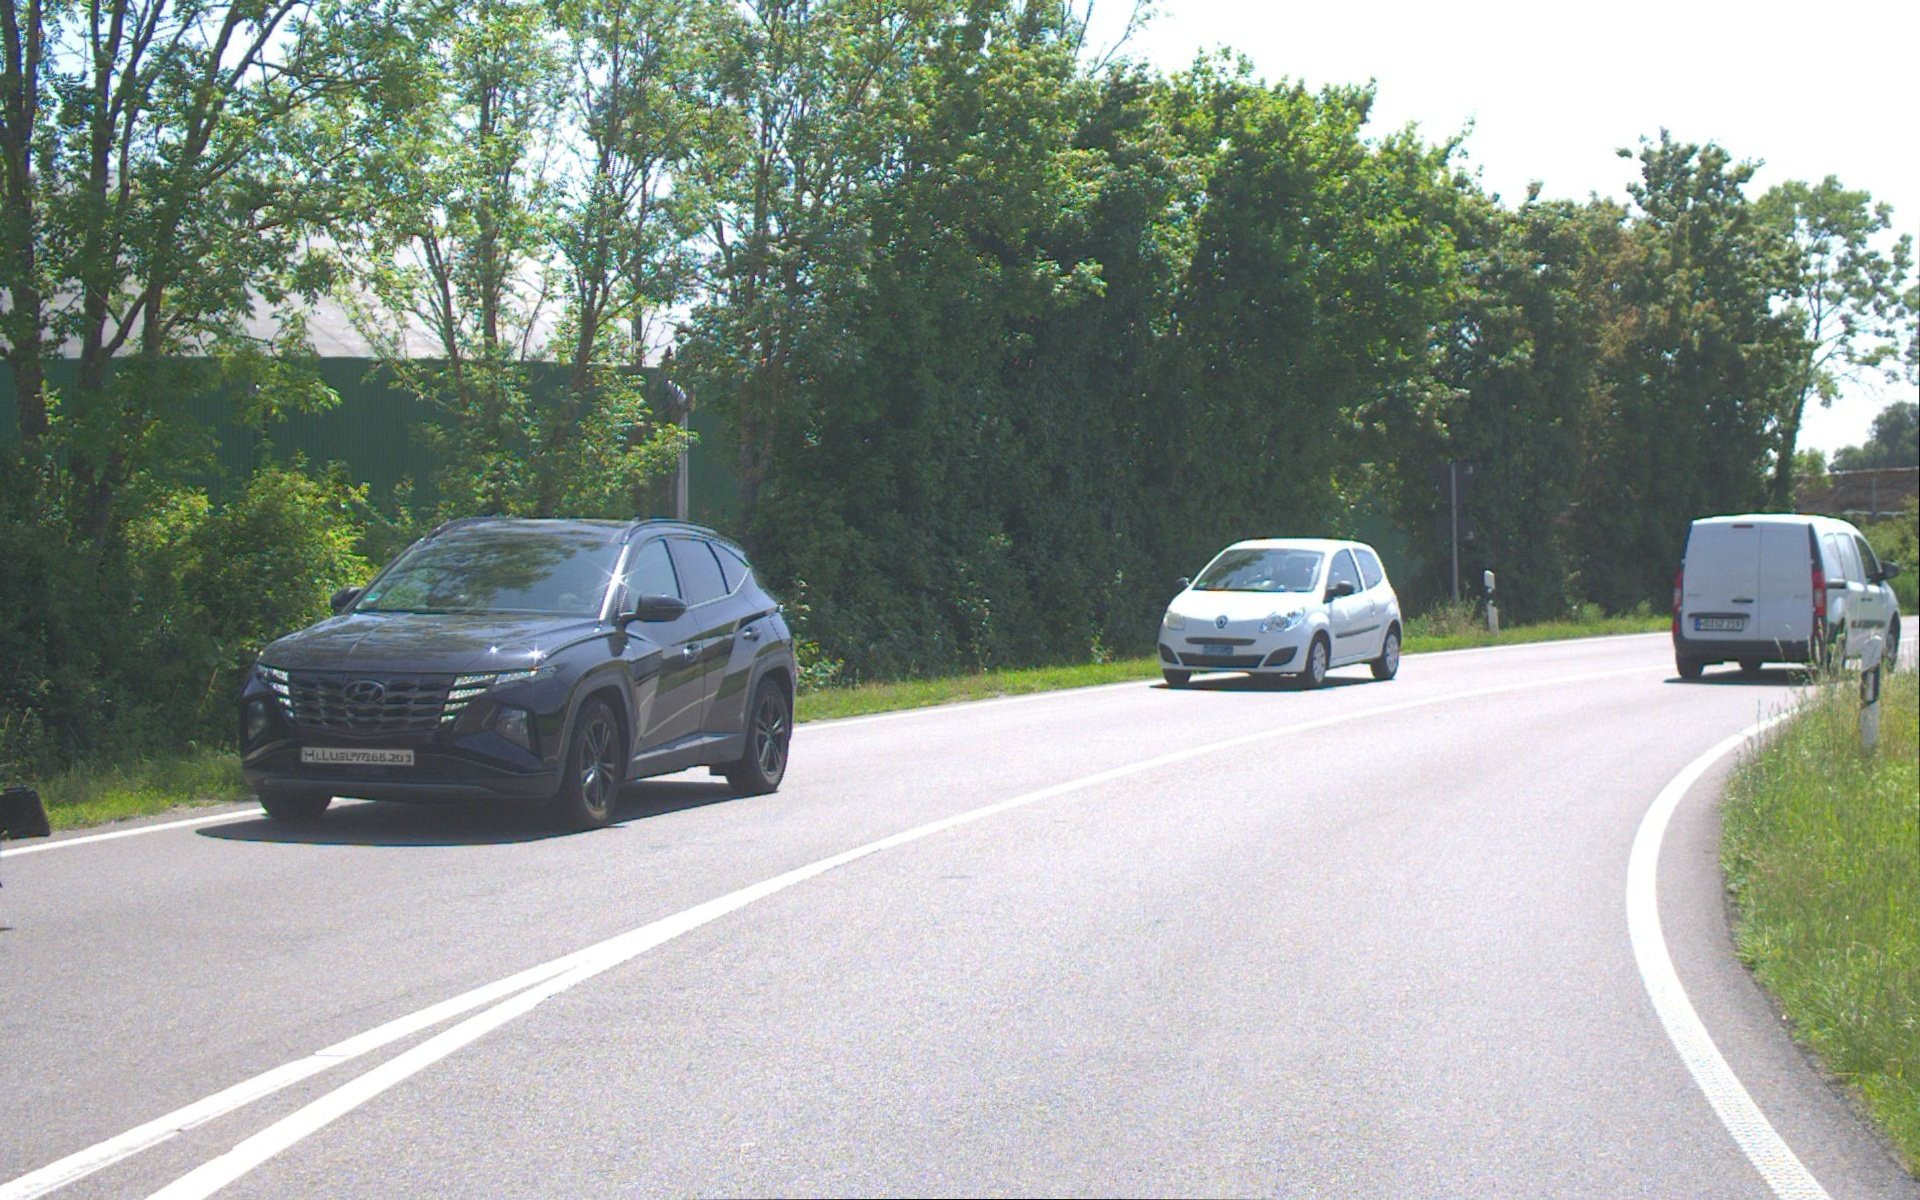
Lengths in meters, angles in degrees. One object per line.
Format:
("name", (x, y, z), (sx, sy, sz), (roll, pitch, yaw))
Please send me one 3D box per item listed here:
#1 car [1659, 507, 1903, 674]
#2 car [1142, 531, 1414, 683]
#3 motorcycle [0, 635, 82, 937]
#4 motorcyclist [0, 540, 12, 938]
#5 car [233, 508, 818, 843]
("car", (9.136, -0.106, 38.056), (1.906, 1.726, 3.817), (-1, 0, 24))
("car", (3.314, 0.058, 35.318), (1.539, 1.438, 3.602), (2, 1, 27))
("motorcycle", (-4.081, 0.704, 12.462), (0.782, 1.120, 2.428), (1, 0, 11))
("motorcyclist", (-4.073, 0.526, 12.503), (0.781, 1.490, 1.130), (0, 0, 11))
("car", (-2.273, 0.330, 19.184), (1.703, 1.632, 4.246), (1, 1, 16))
